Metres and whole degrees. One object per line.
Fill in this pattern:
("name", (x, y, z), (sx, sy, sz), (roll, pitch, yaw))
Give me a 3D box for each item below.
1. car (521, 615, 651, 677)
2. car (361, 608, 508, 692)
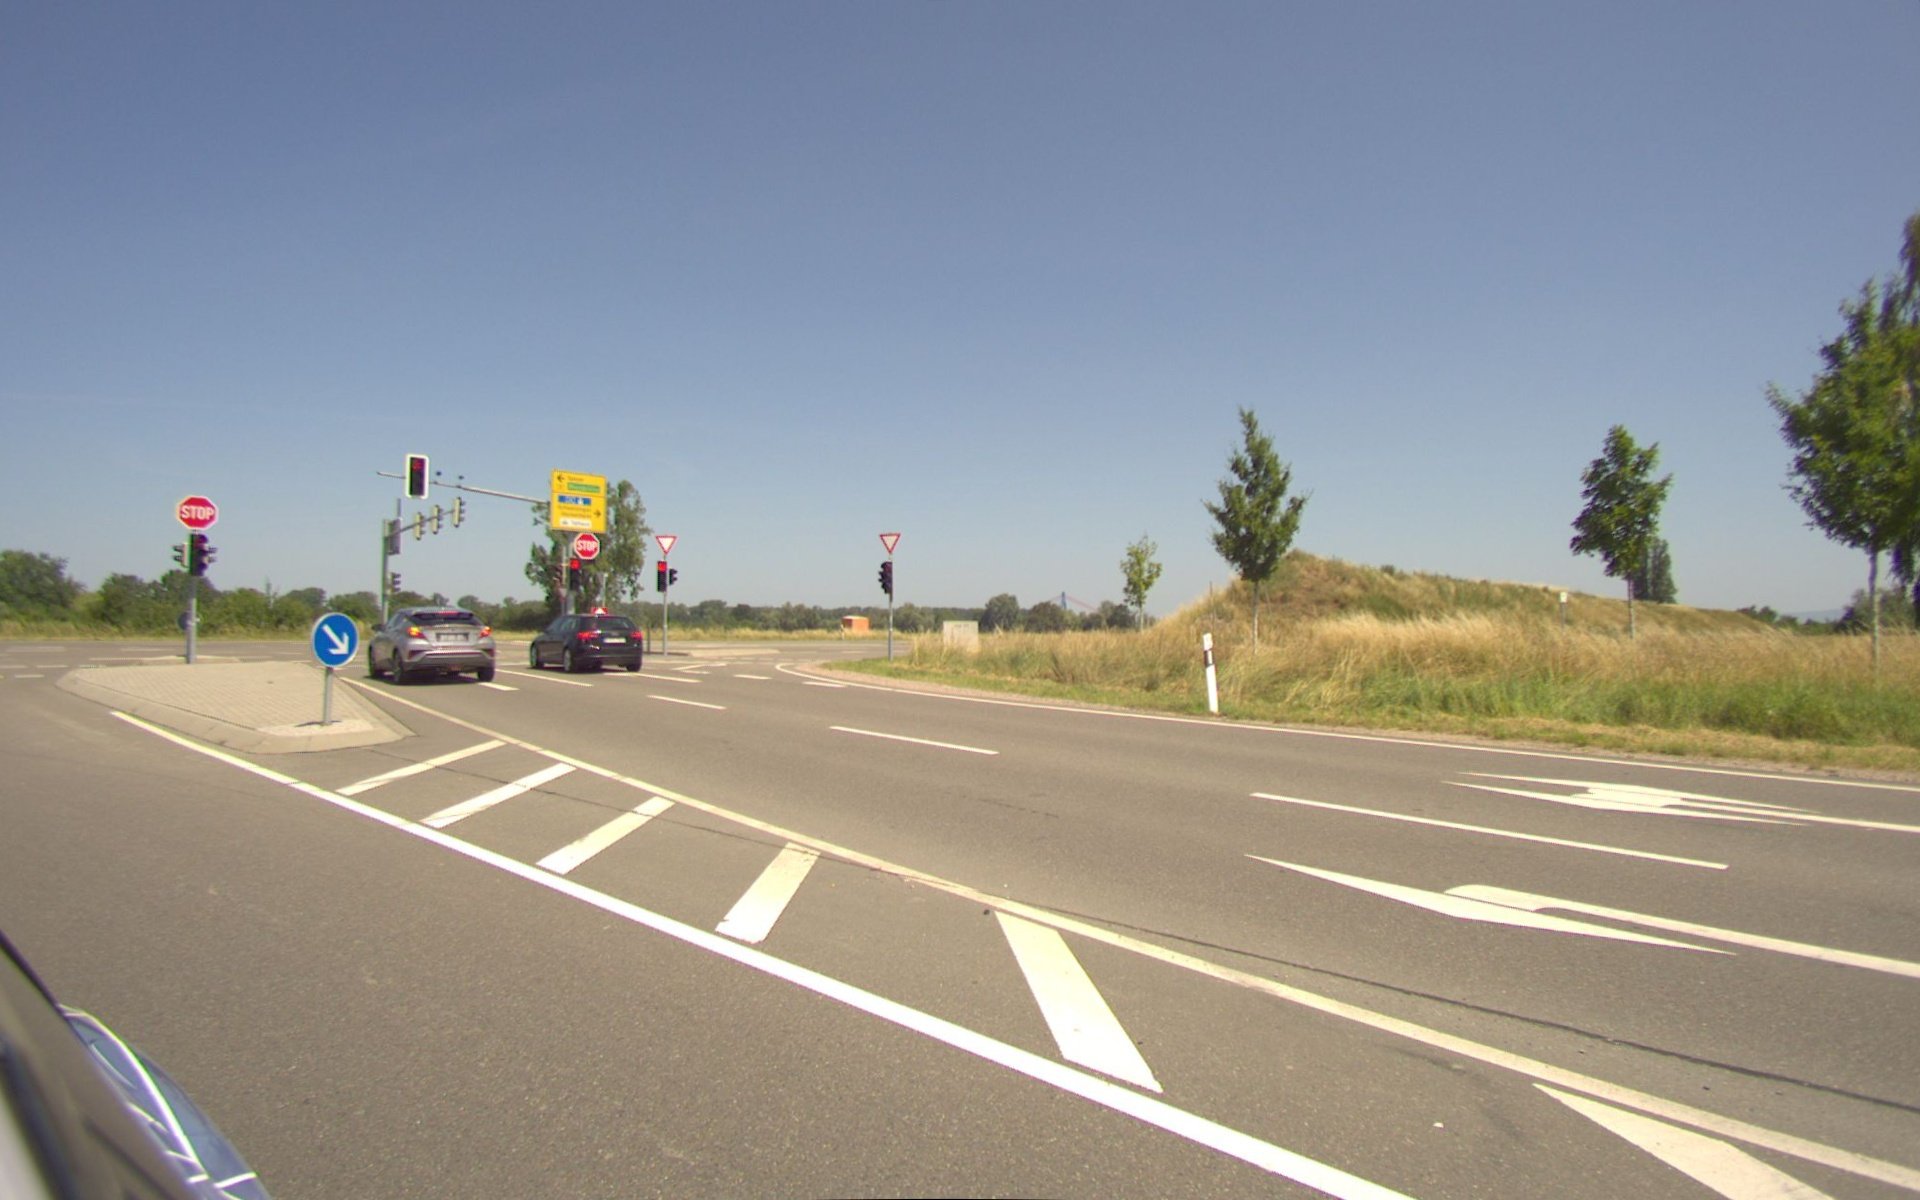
("car", (-9.272, 1.107, 24.887), (1.747, 1.379, 4.282), (1, -2, -39))
("car", (-11.100, 0.952, 21.200), (1.842, 1.555, 4.559), (1, -1, -39))
